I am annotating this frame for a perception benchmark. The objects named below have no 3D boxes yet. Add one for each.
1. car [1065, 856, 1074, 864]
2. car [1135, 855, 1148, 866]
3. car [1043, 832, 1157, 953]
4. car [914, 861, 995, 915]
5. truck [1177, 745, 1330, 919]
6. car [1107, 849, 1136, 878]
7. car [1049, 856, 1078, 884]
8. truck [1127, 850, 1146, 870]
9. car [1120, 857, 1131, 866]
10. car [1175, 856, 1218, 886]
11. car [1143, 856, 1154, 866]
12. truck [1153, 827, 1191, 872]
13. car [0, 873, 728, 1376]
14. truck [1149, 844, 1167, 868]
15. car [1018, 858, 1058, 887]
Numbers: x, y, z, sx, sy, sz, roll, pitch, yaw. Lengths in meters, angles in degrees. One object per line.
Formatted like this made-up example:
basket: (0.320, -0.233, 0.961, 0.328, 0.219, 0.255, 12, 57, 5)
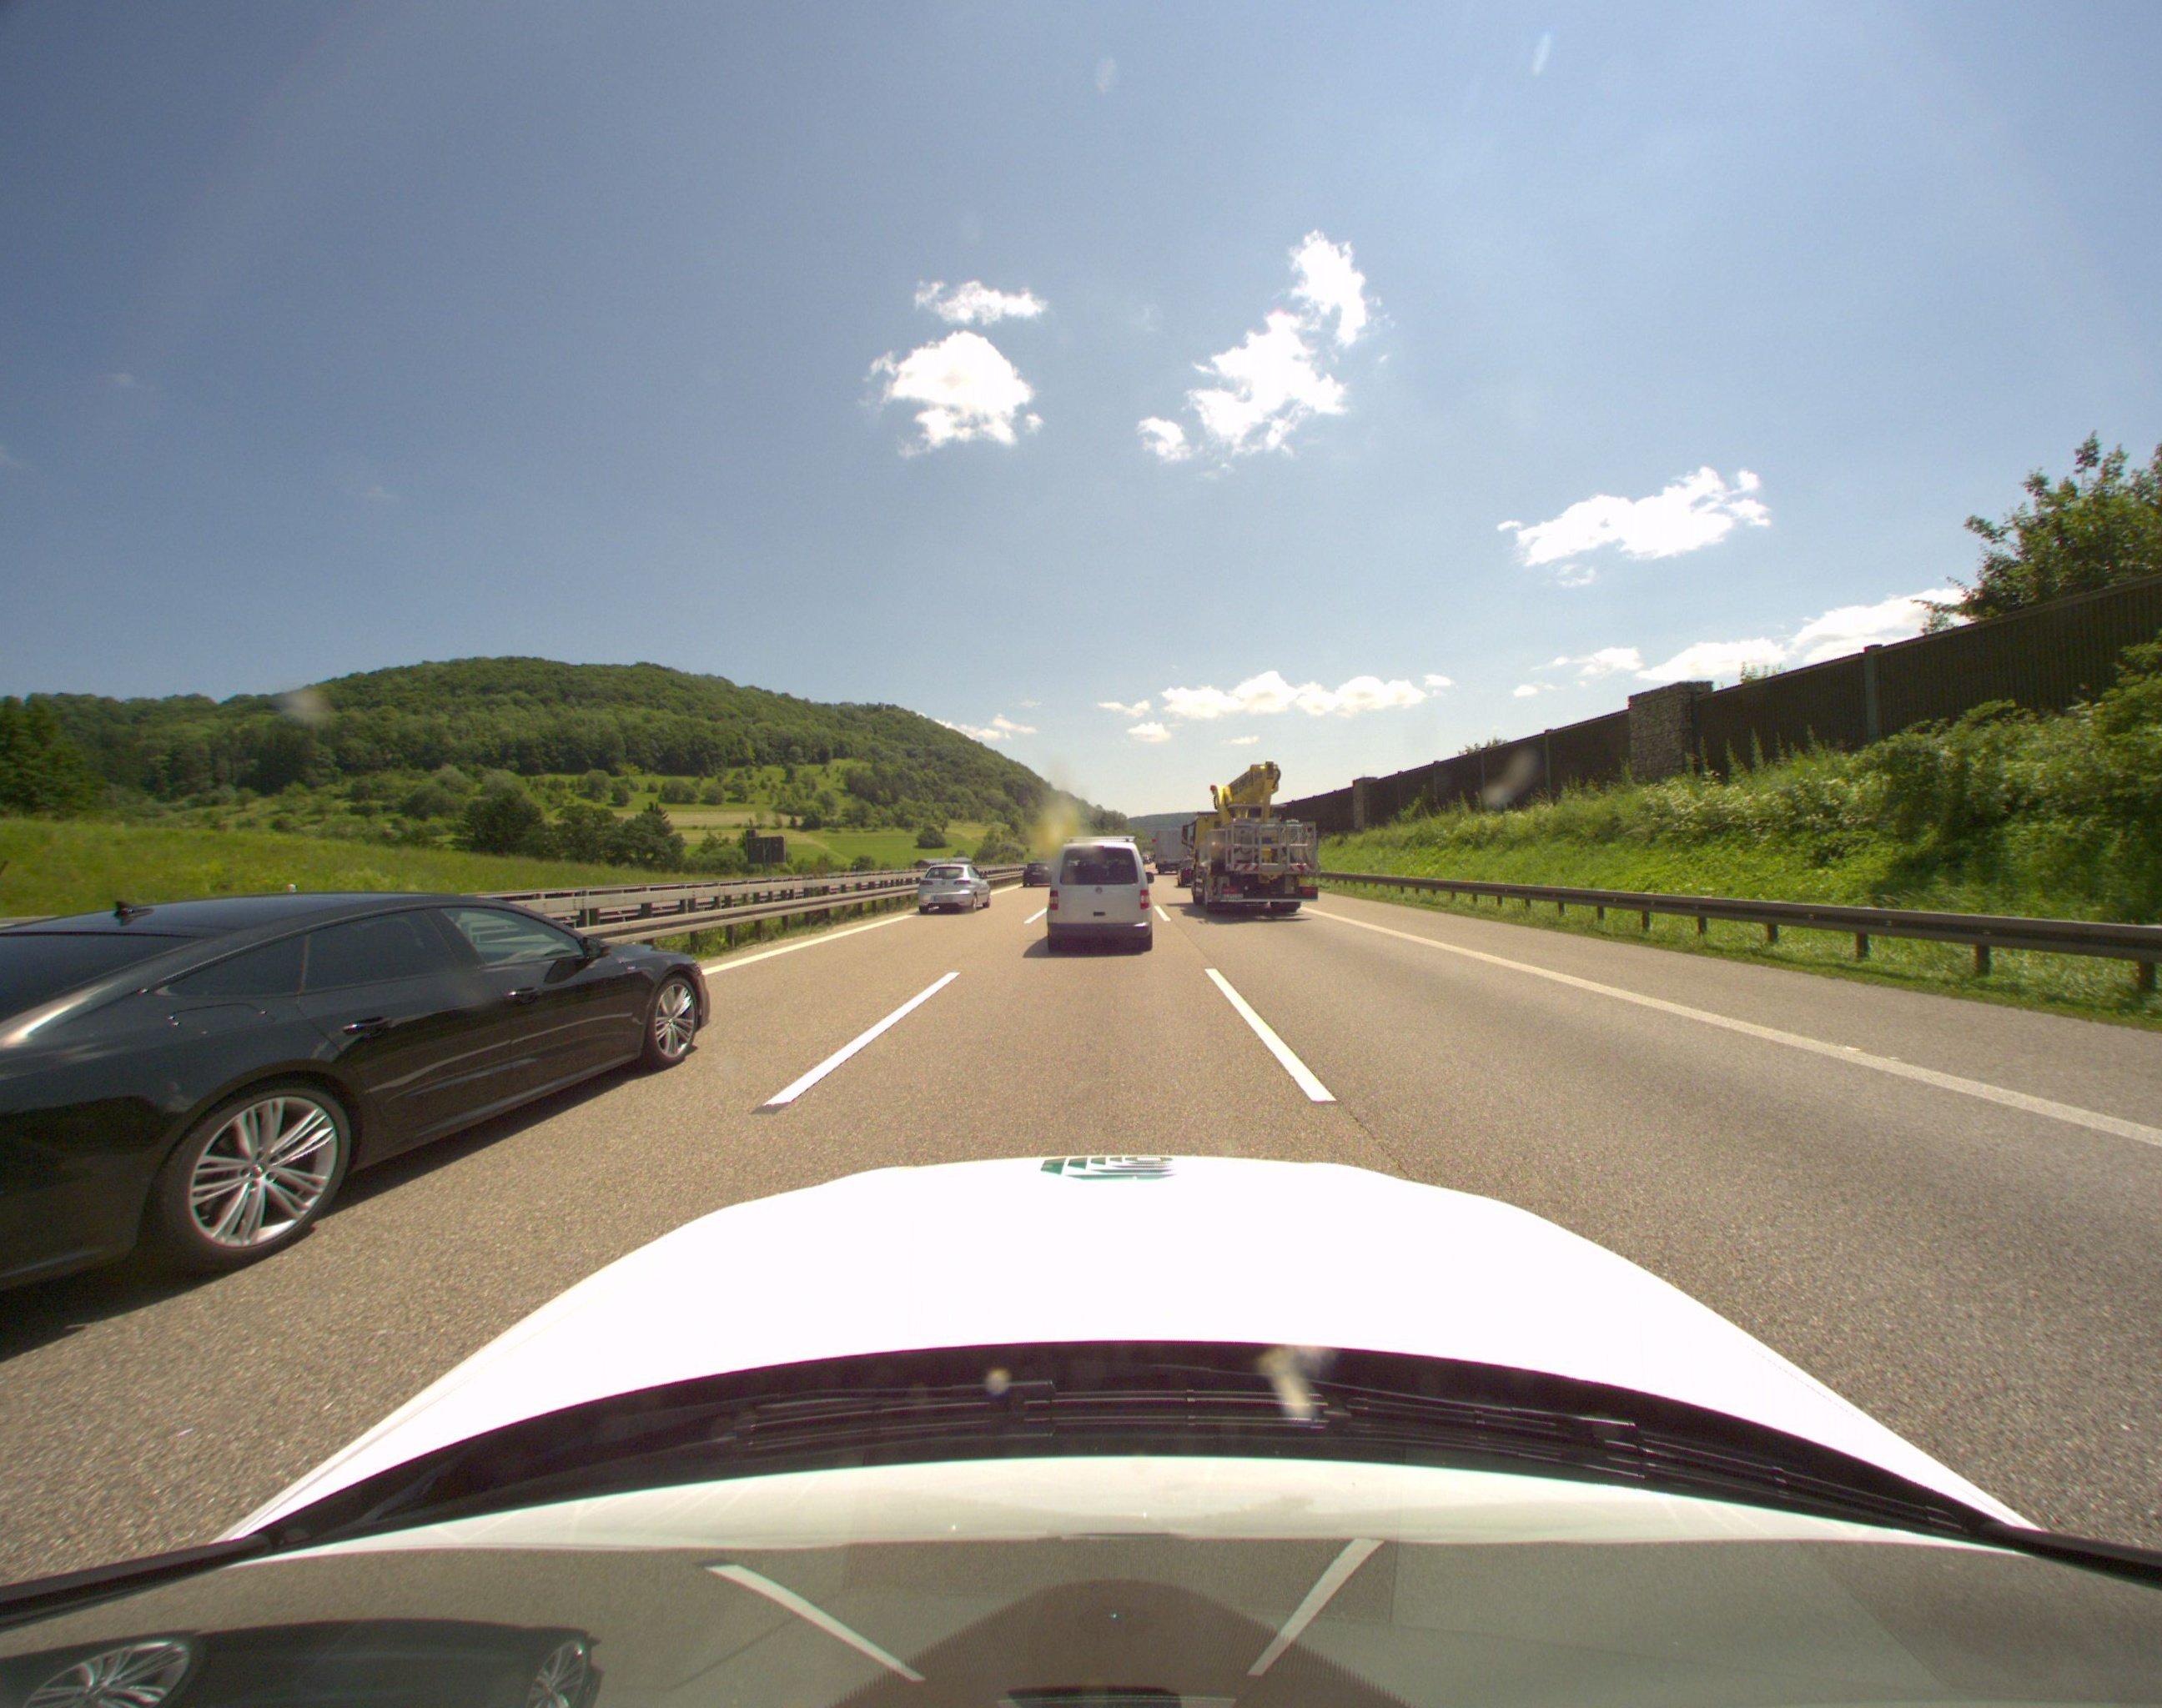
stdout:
car: (-2.865, 1.468, 204.349, 2.051, 1.941, 4.664, -1, 0, 3)
car: (10.274, 1.153, 138.384, 1.985, 1.806, 4.003, 0, -1, 3)
car: (0.361, 0.619, 14.819, 1.749, 1.868, 4.001, -1, 0, 2)
car: (-3.777, 0.979, 24.917, 1.689, 1.445, 3.864, -1, 0, 2)
truck: (4.490, -0.484, 23.177, 2.694, 3.942, 8.725, -1, 0, 2)
car: (2.886, 0.695, 58.677, 1.986, 1.975, 4.001, -1, 0, 2)
car: (-1.302, 1.184, 62.076, 1.986, 2.013, 4.001, -2, 0, 2)
truck: (7.358, 0.815, 108.542, 2.381, 2.541, 5.941, -1, 0, 2)
car: (8.685, 1.460, 159.449, 1.985, 1.806, 4.003, 0, -1, 3)
car: (5.859, 0.836, 41.710, 1.779, 1.458, 3.772, -1, 0, 2)
car: (13.061, 1.354, 158.754, 1.985, 1.806, 4.003, 0, -1, 3)
truck: (8.095, -0.305, 73.148, 2.928, 3.823, 8.242, 0, -1, 3)
car: (-3.996, 0.868, 4.421, 1.793, 1.390, 4.972, -1, 0, 2)
truck: (10.620, 0.310, 112.165, 1.986, 3.251, 6.802, 0, -1, 2)
car: (-2.386, 1.007, 45.907, 1.917, 1.499, 4.001, -1, 0, 2)
